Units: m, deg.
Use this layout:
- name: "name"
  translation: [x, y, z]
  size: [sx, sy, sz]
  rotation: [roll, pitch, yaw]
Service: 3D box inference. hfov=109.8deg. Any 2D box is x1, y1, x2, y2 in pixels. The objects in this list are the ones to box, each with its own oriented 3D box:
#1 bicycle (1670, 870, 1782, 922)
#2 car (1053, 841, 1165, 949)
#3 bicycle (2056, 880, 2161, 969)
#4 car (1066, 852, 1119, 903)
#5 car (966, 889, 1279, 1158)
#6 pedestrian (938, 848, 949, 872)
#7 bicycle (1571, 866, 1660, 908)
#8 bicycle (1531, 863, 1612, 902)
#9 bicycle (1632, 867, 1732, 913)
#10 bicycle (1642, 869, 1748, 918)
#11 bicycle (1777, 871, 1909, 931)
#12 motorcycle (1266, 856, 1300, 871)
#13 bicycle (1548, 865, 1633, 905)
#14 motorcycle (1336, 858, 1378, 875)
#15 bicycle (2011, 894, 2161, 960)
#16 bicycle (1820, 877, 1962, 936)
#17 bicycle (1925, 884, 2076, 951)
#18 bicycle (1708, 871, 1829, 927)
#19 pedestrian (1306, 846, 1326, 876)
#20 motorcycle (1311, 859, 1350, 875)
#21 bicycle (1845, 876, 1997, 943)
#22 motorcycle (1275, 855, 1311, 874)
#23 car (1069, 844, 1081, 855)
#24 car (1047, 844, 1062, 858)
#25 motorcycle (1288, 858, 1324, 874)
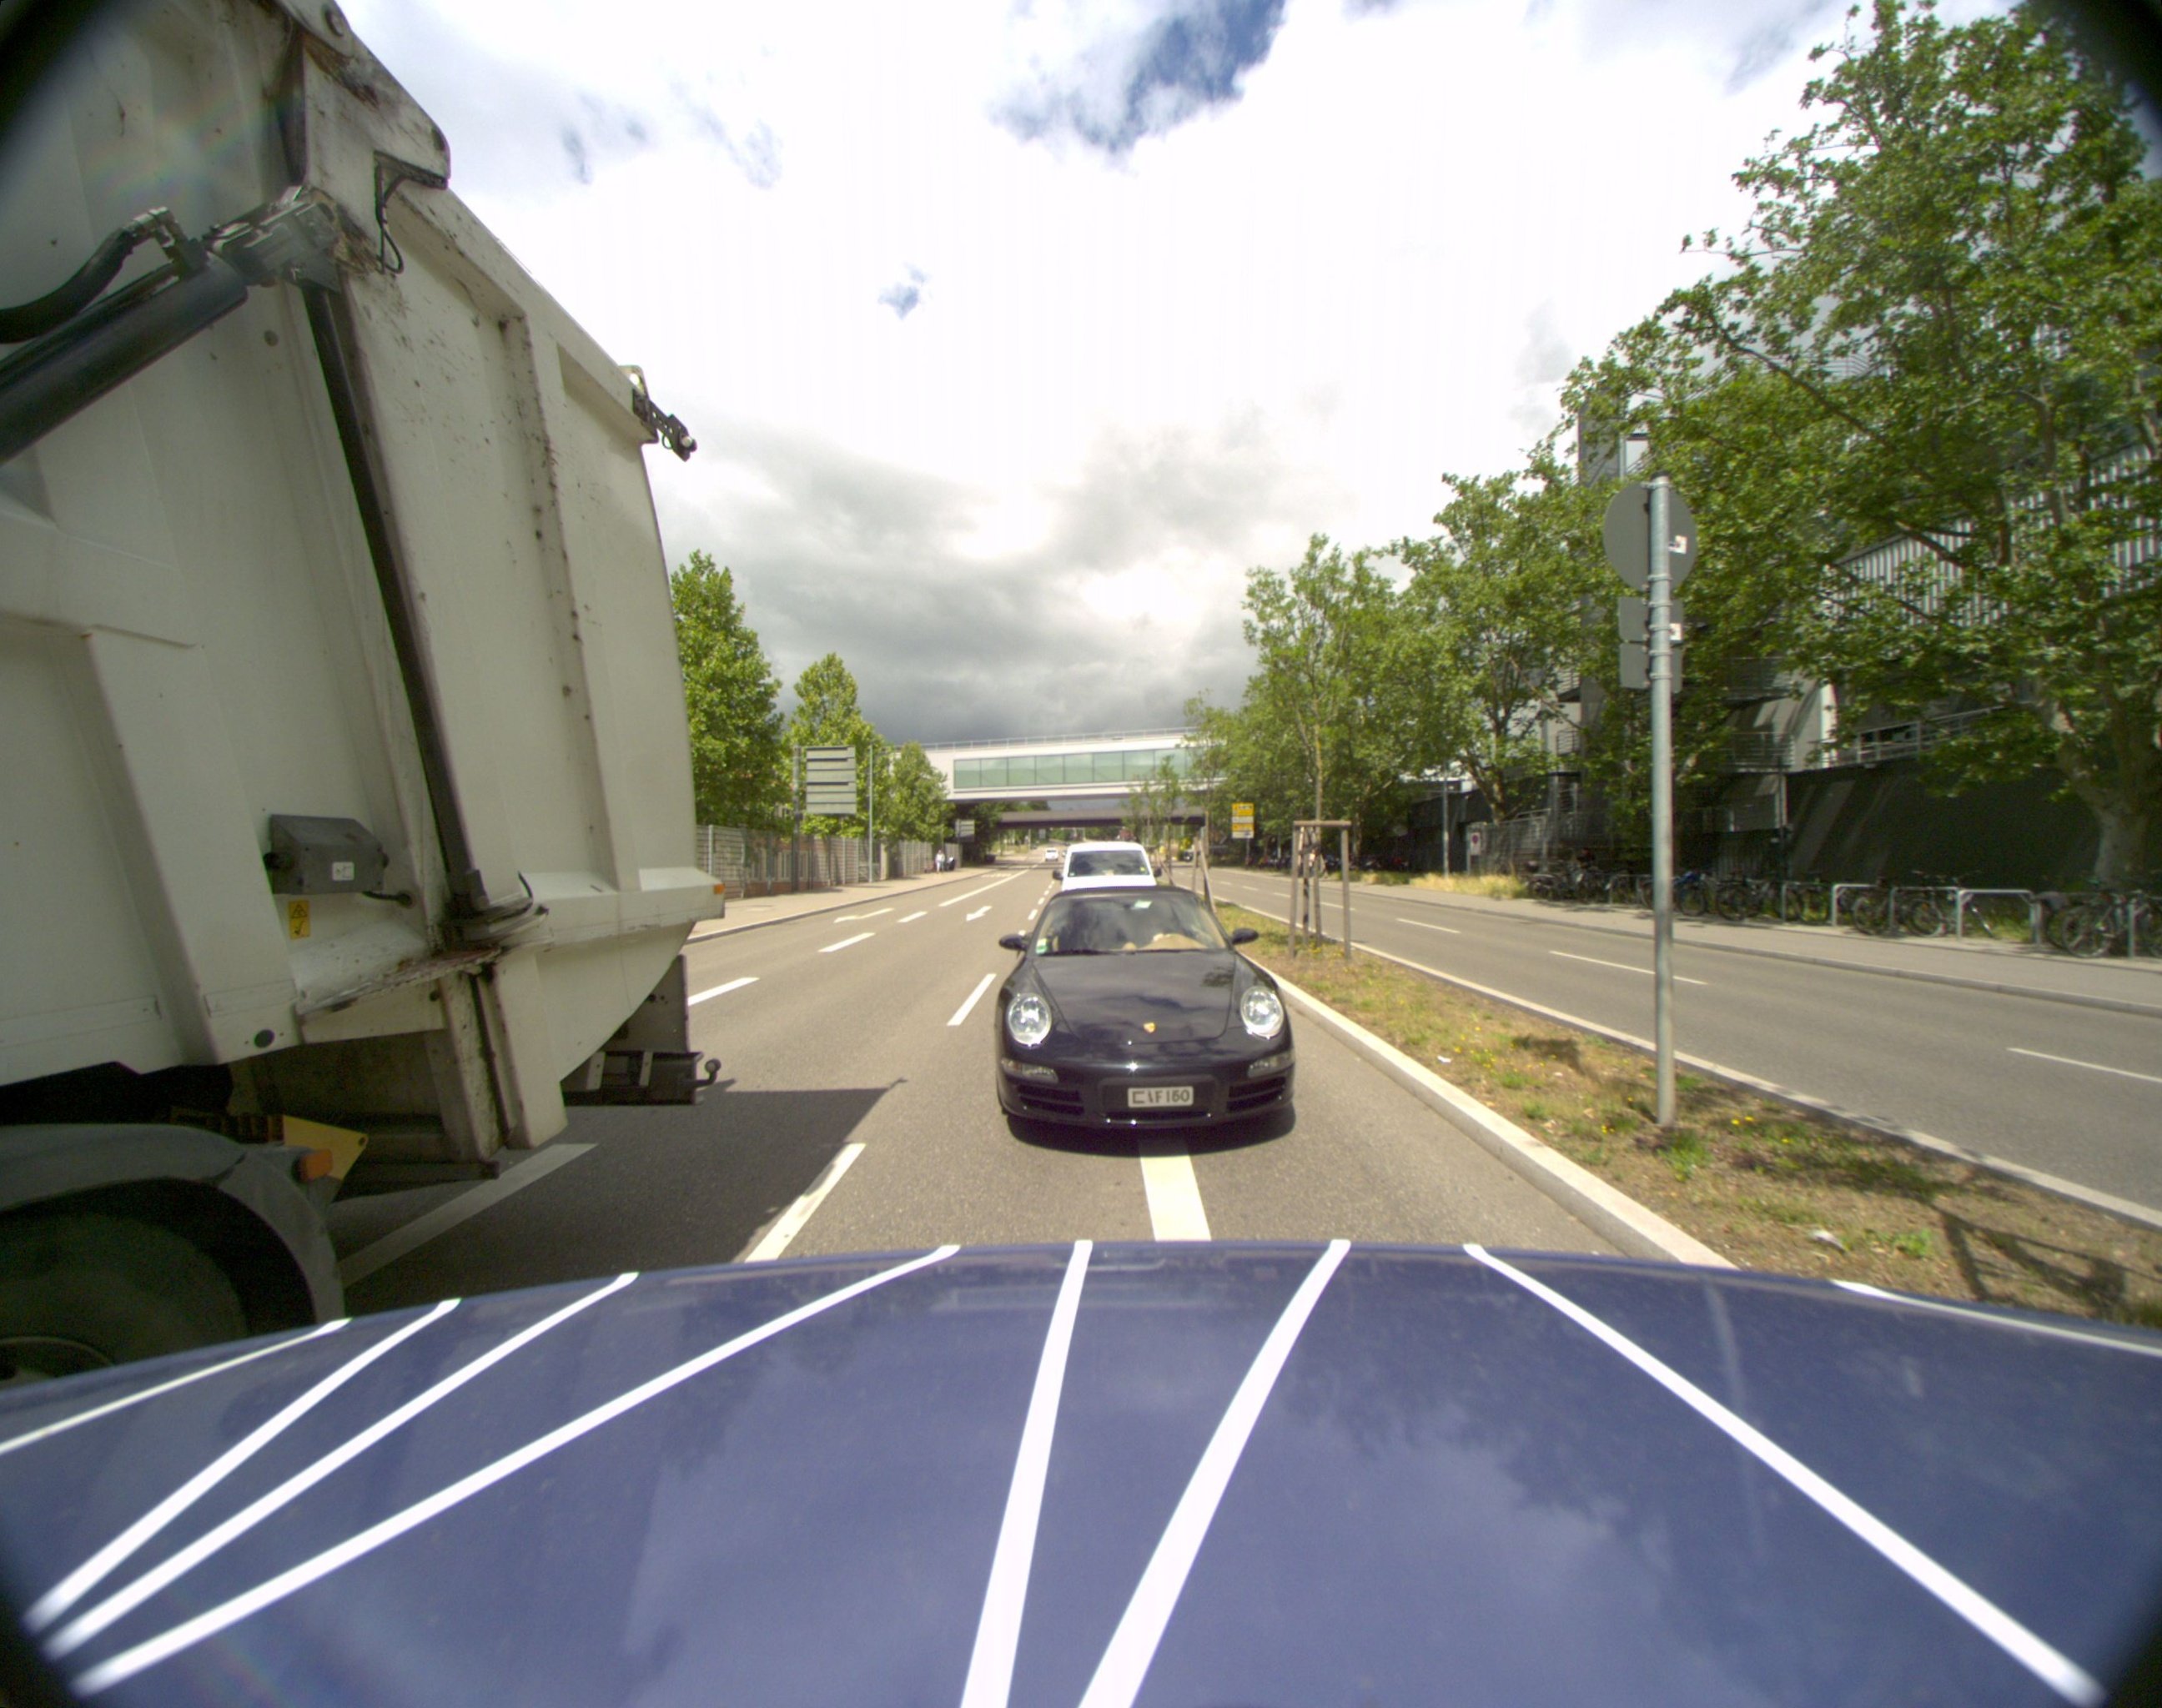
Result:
- name: "bicycle"
  translation: [14.475, 0.932, 17.068]
  size: [2.129, 1.104, 0.382]
  rotation: [-1, 1, 3]
- name: "car"
  translation: [0.514, 0.691, 15.447]
  size: [1.862, 1.800, 4.906]
  rotation: [-1, 0, 1]
- name: "bicycle"
  translation: [14.349, 0.927, 10.222]
  size: [1.993, 1.121, 0.382]
  rotation: [-1, 1, -1]
- name: "car"
  translation: [0.376, 0.779, 27.226]
  size: [1.747, 1.647, 3.545]
  rotation: [-1, 0, 0]
- name: "car"
  translation: [0.255, 1.033, 6.127]
  size: [1.710, 1.280, 3.806]
  rotation: [-1, 0, 1]
- name: "pedestrian"
  translation: [-11.184, 0.502, 61.672]
  size: [0.739, 1.901, 0.658]
  rotation: [-2, 1, -4]
- name: "bicycle"
  translation: [14.818, 0.915, 21.082]
  size: [2.129, 1.104, 0.382]
  rotation: [-1, 1, 3]
- name: "bicycle"
  translation: [14.744, 0.865, 22.847]
  size: [2.129, 1.104, 0.382]
  rotation: [-1, 1, 3]
- name: "bicycle"
  translation: [15.061, 0.895, 19.070]
  size: [2.129, 1.104, 0.382]
  rotation: [-1, 1, 3]
- name: "bicycle"
  translation: [14.501, 0.924, 17.955]
  size: [2.129, 1.104, 0.382]
  rotation: [-1, 1, 3]
- name: "bicycle"
  translation: [15.037, 0.926, 15.005]
  size: [2.129, 1.104, 0.382]
  rotation: [-1, 1, 3]
- name: "motorcycle"
  translation: [13.773, 0.667, 51.771]
  size: [2.133, 0.963, 0.534]
  rotation: [-1, 0, 1]
- name: "bicycle"
  translation: [14.749, 0.902, 22.005]
  size: [2.129, 1.104, 0.382]
  rotation: [-1, 1, 3]
- name: "motorcycle"
  translation: [15.411, 0.673, 42.393]
  size: [2.133, 0.893, 0.534]
  rotation: [-1, 0, 1]
- name: "bicycle"
  translation: [14.952, 1.071, 11.225]
  size: [1.993, 0.885, 0.382]
  rotation: [-1, 1, -1]
- name: "bicycle"
  translation: [15.007, 0.969, 14.099]
  size: [2.129, 1.025, 0.382]
  rotation: [-1, 1, 3]
- name: "bicycle"
  translation: [14.748, 1.013, 12.204]
  size: [1.993, 0.992, 0.382]
  rotation: [-1, 1, -1]
- name: "bicycle"
  translation: [14.496, 0.943, 16.044]
  size: [2.129, 1.104, 0.382]
  rotation: [-1, 1, 3]
- name: "pedestrian"
  translation: [13.204, 0.392, 42.738]
  size: [0.900, 1.710, 0.673]
  rotation: [-1, 1, 1]
- name: "motorcycle"
  translation: [14.657, 0.737, 44.693]
  size: [2.133, 0.880, 0.534]
  rotation: [-1, 0, 1]
- name: "bicycle"
  translation: [14.574, 0.956, 13.205]
  size: [2.129, 1.089, 0.382]
  rotation: [-1, 1, 3]
- name: "motorcycle"
  translation: [13.686, 0.678, 49.065]
  size: [2.133, 1.131, 0.534]
  rotation: [-1, 0, 1]
- name: "car"
  translation: [-0.955, -0.778, 131.064]
  size: [1.862, 1.800, 4.357]
  rotation: [-3, 0, 1]
- name: "car"
  translation: [-4.006, -0.431, 117.035]
  size: [1.925, 2.082, 4.657]
  rotation: [-1, 0, 2]
- name: "motorcycle"
  translation: [14.074, 0.764, 47.554]
  size: [2.133, 0.963, 0.534]
  rotation: [-1, 0, 1]
